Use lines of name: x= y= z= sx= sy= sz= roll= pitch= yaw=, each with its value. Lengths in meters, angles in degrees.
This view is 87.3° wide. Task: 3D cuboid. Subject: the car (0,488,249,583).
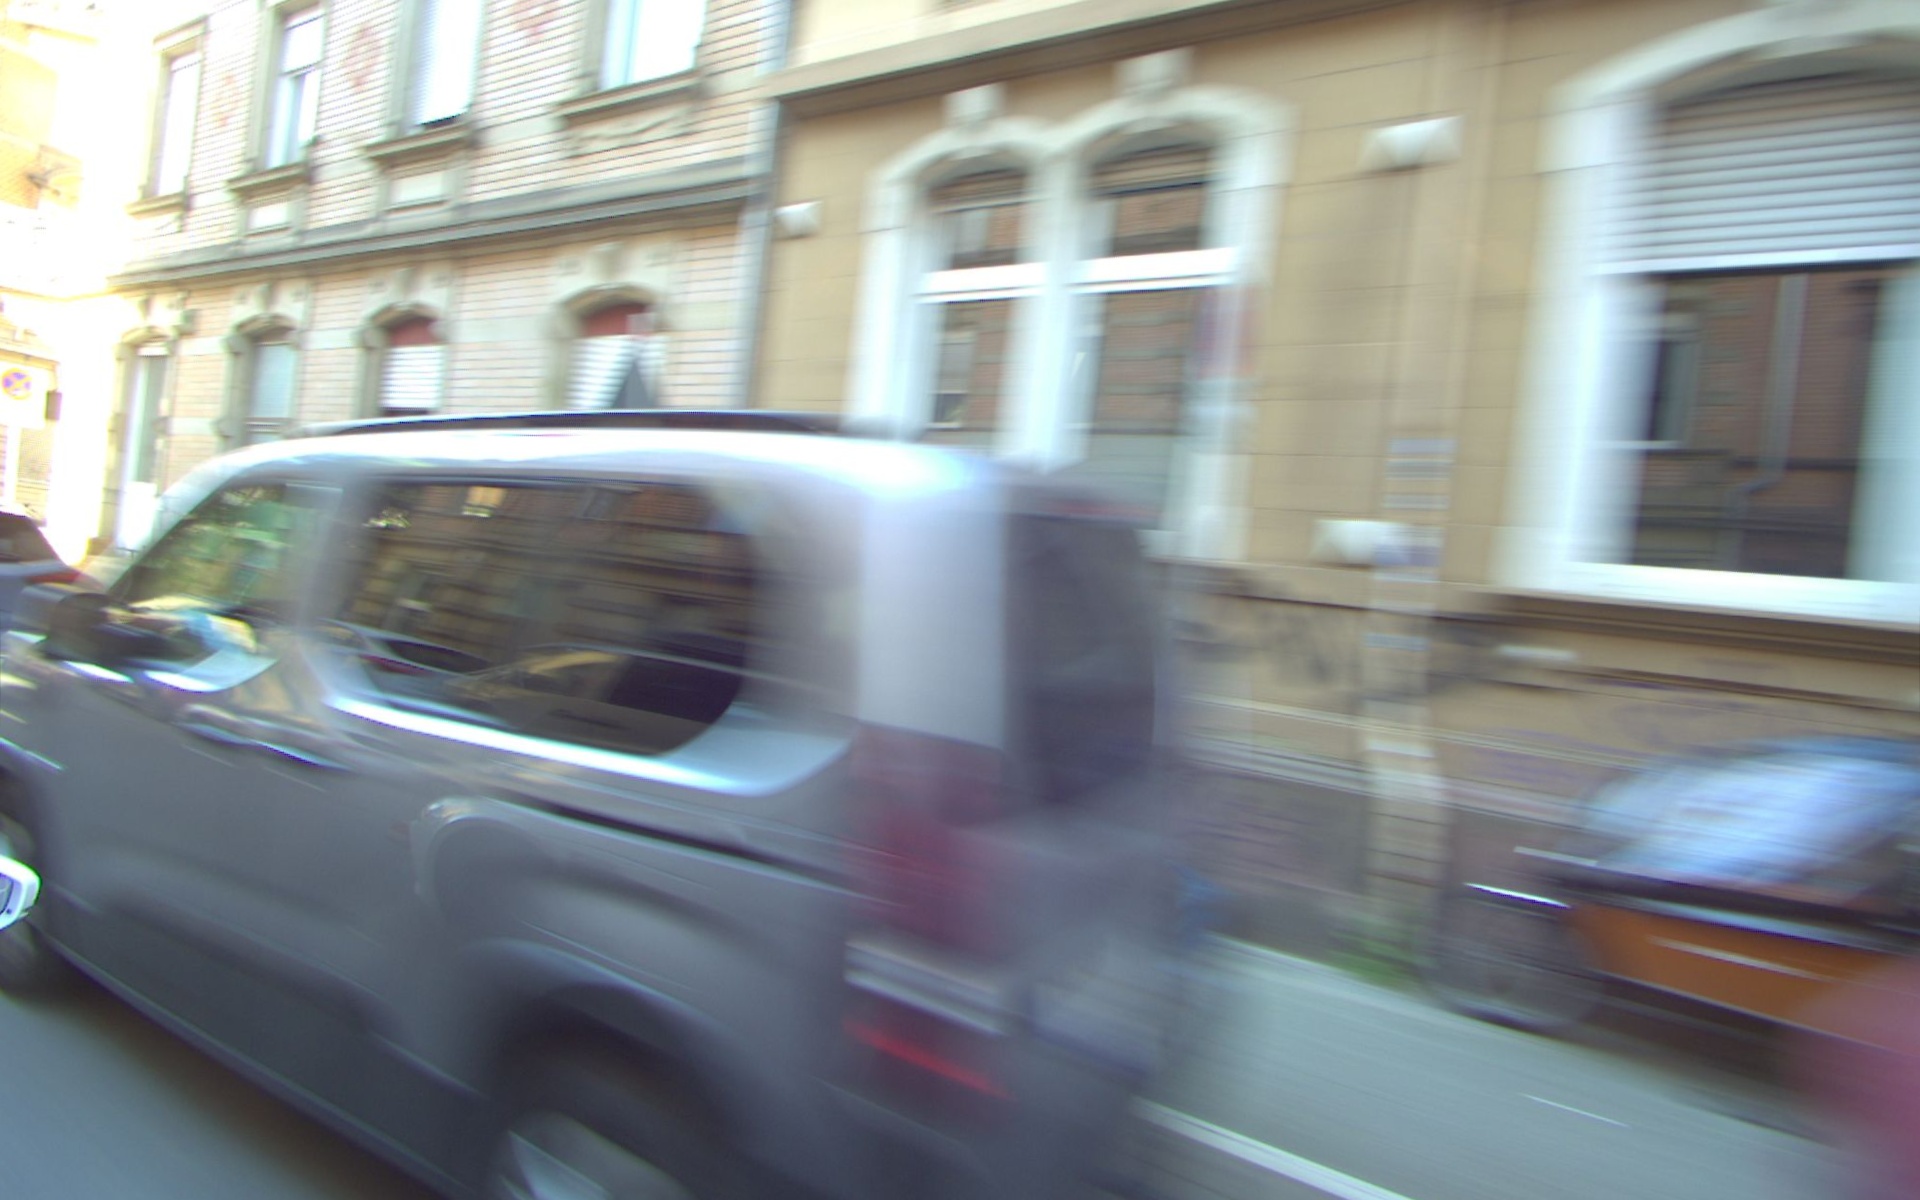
car: x=-18.502 y=-1.384 z=22.337 sx=1.704 sy=1.470 sz=3.985 roll=8 pitch=0 yaw=32

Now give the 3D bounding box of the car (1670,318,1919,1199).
car: x=3.272 y=0.902 z=0.373 sx=4.663 sy=2.037 sz=1.836 roll=7 pitch=-2 yaw=31

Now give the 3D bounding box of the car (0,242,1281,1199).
car: x=-1.450 y=0.402 z=3.144 sx=4.193 sy=1.984 sz=1.773 roll=7 pitch=-2 yaw=31

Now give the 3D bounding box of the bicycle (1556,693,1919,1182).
bicycle: x=3.064 y=1.111 z=3.403 sx=1.664 sy=1.322 sz=0.727 roll=7 pitch=3 yaw=32

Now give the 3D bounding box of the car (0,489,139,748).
car: x=-7.339 y=-0.099 z=6.683 sx=3.823 sy=1.497 sz=1.669 roll=7 pitch=0 yaw=32
